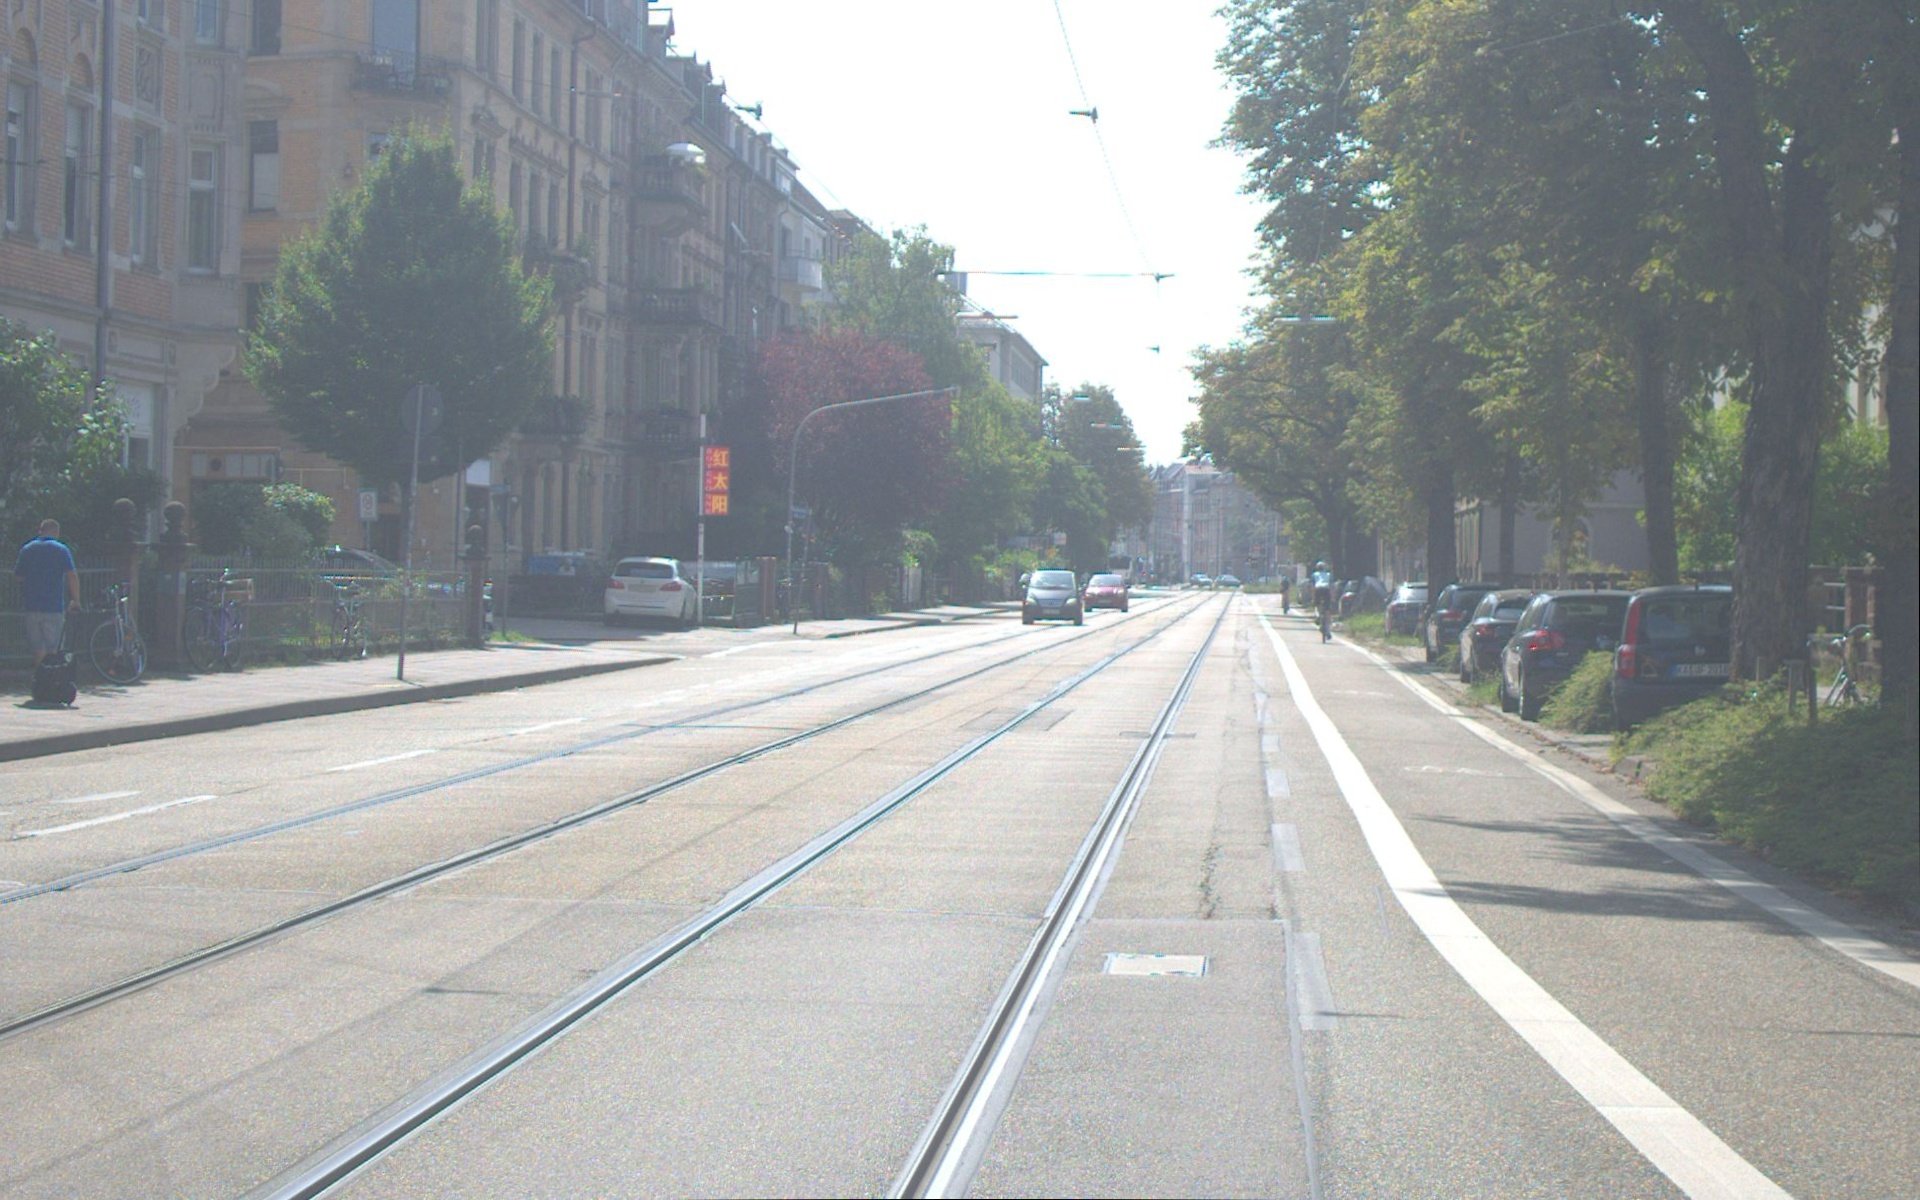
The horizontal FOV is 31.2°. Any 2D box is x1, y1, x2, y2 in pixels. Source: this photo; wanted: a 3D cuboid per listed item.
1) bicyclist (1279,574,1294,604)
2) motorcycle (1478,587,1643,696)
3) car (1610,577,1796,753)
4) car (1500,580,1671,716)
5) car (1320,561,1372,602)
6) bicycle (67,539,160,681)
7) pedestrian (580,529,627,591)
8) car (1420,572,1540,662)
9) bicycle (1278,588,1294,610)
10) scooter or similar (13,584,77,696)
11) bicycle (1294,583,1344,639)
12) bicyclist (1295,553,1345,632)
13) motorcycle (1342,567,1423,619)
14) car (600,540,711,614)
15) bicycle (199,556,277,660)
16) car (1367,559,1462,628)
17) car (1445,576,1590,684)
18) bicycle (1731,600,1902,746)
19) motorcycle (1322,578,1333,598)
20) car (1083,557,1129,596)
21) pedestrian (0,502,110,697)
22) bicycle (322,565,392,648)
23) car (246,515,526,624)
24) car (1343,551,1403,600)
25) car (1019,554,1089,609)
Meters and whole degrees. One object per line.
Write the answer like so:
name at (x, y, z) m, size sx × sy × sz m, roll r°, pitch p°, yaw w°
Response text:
bicyclist at (14.178, -0.463, 149.270) m, size 0.579 × 1.274 × 0.471 m, roll 2°, pitch 0°, yaw 7°
motorcycle at (7.840, 0.534, 44.942) m, size 2.004 × 1.363 × 0.782 m, roll 1°, pitch 1°, yaw 2°
car at (6.988, 0.566, 32.476) m, size 1.618 × 1.525 × 3.497 m, roll 1°, pitch 1°, yaw 11°
car at (7.311, 0.527, 40.463) m, size 1.617 × 1.472 × 4.038 m, roll 0°, pitch 1°, yaw 5°
car at (15.016, -0.737, 133.813) m, size 1.841 × 1.527 × 4.779 m, roll 0°, pitch 1°, yaw 4°
bicycle at (-8.643, 0.088, 35.139) m, size 0.390 × 1.401 × 1.581 m, roll 2°, pitch 1°, yaw 6°
pedestrian at (-8.806, -0.984, 84.831) m, size 0.883 × 1.506 × 0.870 m, roll 1°, pitch 1°, yaw -26°
car at (9.286, 0.282, 61.676) m, size 1.756 × 1.472 × 4.386 m, roll 1°, pitch 1°, yaw 4°
bicycle at (14.176, -0.063, 149.316) m, size 0.588 × 0.936 × 2.171 m, roll 2°, pitch 0°, yaw 7°
scooter or similar at (-8.278, 0.354, 31.114) m, size 0.400 × 0.979 × 0.584 m, roll 3°, pitch 1°, yaw -3°
bicycle at (8.538, 0.252, 81.688) m, size 1.148 × 1.265 × 2.711 m, roll 1°, pitch 1°, yaw 6°
bicyclist at (8.550, -0.186, 81.707) m, size 1.125 × 1.830 × 0.955 m, roll 2°, pitch 0°, yaw 6°
motorcycle at (12.648, -0.204, 102.964) m, size 0.966 × 1.535 × 2.345 m, roll 1°, pitch -1°, yaw -44°
car at (-6.870, -0.549, 77.921) m, size 1.993 × 1.589 × 4.359 m, roll 1°, pitch 1°, yaw 1°
bicycle at (-8.249, 0.077, 39.322) m, size 0.390 × 1.144 × 1.581 m, roll 2°, pitch 1°, yaw 6°
car at (10.492, -0.180, 79.613) m, size 1.892 × 1.472 × 4.840 m, roll 1°, pitch 1°, yaw 4°
car at (8.255, 0.411, 51.209) m, size 1.756 × 1.472 × 4.456 m, roll -2°, pitch 0°, yaw 5°
bicycle at (6.641, 0.564, 26.642) m, size 1.388 × 1.104 × 0.389 m, roll 1°, pitch 1°, yaw -30°
motorcycle at (20.098, -0.681, 188.036) m, size 0.549 × 1.064 × 2.330 m, roll 2°, pitch 0°, yaw 5°
car at (5.896, -0.961, 138.492) m, size 1.732 × 1.485 × 4.000 m, roll 1°, pitch 1°, yaw 4°
pedestrian at (-8.450, -0.015, 31.768) m, size 0.883 × 1.750 × 0.870 m, roll 2°, pitch 1°, yaw 5°
bicycle at (-7.900, 0.071, 45.094) m, size 0.390 × 1.035 × 1.833 m, roll 2°, pitch 1°, yaw 6°
car at (-9.385, -0.512, 56.376) m, size 4.103 × 1.589 × 1.878 m, roll 2°, pitch 1°, yaw 7°
car at (14.187, -0.854, 118.255) m, size 1.841 × 1.527 × 4.115 m, roll 1°, pitch 2°, yaw 4°
car at (2.779, -0.570, 101.090) m, size 1.827 × 1.535 × 4.000 m, roll 1°, pitch 1°, yaw 4°
